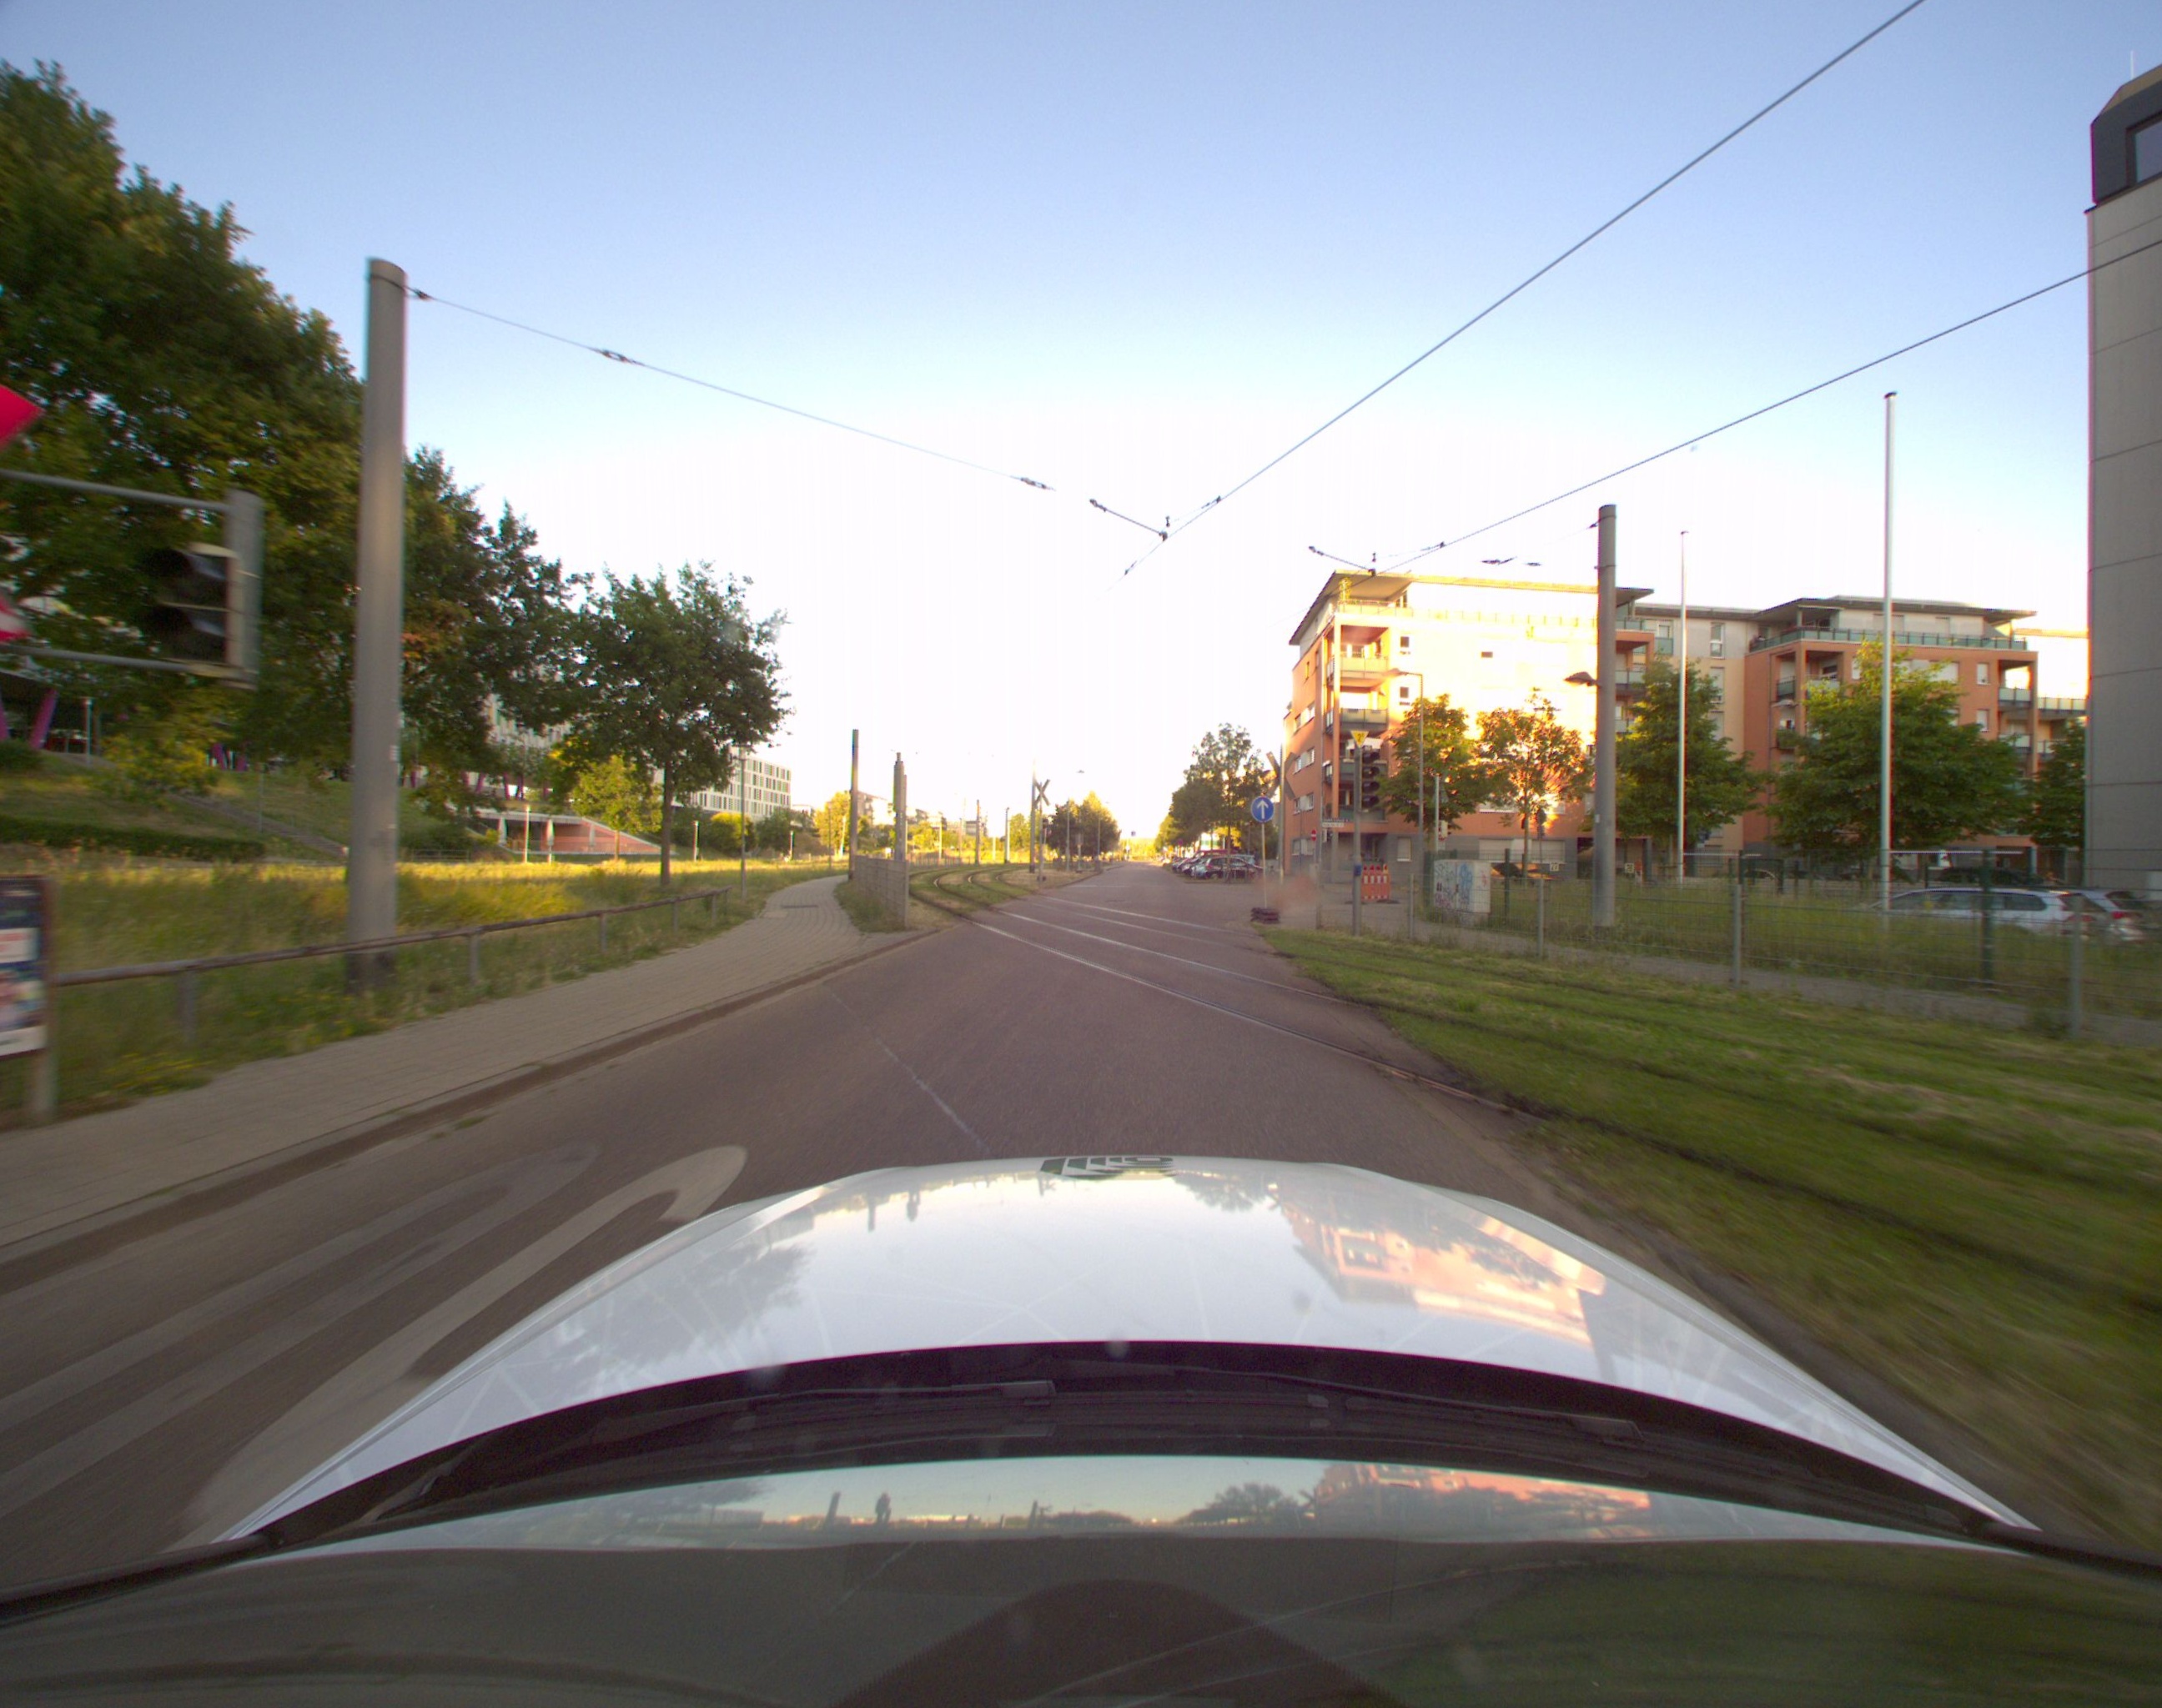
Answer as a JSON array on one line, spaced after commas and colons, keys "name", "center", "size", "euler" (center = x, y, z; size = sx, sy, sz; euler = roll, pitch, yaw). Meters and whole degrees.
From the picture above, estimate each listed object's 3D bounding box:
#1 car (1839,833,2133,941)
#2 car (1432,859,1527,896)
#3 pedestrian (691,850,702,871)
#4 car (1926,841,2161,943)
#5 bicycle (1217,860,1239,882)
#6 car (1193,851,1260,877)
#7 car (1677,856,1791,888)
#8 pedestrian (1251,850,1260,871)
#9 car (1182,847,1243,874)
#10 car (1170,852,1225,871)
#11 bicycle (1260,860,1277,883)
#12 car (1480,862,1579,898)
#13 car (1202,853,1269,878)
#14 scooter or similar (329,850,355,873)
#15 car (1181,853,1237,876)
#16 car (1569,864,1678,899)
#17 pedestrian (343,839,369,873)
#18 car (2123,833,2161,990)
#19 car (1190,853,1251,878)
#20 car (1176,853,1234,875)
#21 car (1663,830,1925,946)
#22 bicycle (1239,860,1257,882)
[{"name": "car", "center": [18.999, 0.623, 17.425], "size": [1.985, 2.013, 4.004], "euler": [1, 0, 4]}, {"name": "car", "center": [19.342, 1.092, 39.805], "size": [1.990, 1.594, 4.807], "euler": [2, 0, -4]}, {"name": "pedestrian", "center": [-38.770, 0.619, 82.042], "size": [0.613, 2.082, 0.791], "euler": [3, -1, 3]}, {"name": "car", "center": [21.960, 0.769, 18.285], "size": [1.985, 2.013, 4.004], "euler": [1, 0, 4]}, {"name": "bicycle", "center": [8.152, 0.934, 45.143], "size": [0.715, 1.152, 1.895], "euler": [-1, 2, -6]}, {"name": "car", "center": [9.240, 0.631, 51.981], "size": [4.031, 1.569, 1.675], "euler": [0, 0, 4]}, {"name": "car", "center": [34.976, 0.915, 43.809], "size": [1.992, 1.594, 4.803], "euler": [1, 0, -7]}, {"name": "pedestrian", "center": [14.422, 0.518, 67.300], "size": [0.665, 1.743, 0.700], "euler": [1, 0, 4]}, {"name": "car", "center": [10.793, 0.498, 67.155], "size": [4.896, 2.117, 2.020], "euler": [1, 0, 5]}, {"name": "car", "center": [10.057, 0.629, 70.519], "size": [4.648, 1.556, 1.813], "euler": [1, 0, 3]}, {"name": "bicycle", "center": [10.435, 0.959, 45.399], "size": [0.527, 1.126, 1.964], "euler": [2, 1, 3]}, {"name": "car", "center": [22.079, 1.244, 40.346], "size": [1.990, 1.594, 4.807], "euler": [1, 0, -4]}, {"name": "car", "center": [9.369, 0.690, 49.573], "size": [3.737, 1.473, 1.613], "euler": [1, 0, -1]}, {"name": "scooter or similar", "center": [-40.506, 0.419, 44.663], "size": [0.613, 1.244, 0.791], "euler": [3, 0, 3]}, {"name": "car", "center": [9.011, 0.763, 57.403], "size": [3.757, 1.496, 1.540], "euler": [1, -2, 4]}, {"name": "car", "center": [27.018, 1.311, 40.788], "size": [1.990, 1.594, 4.807], "euler": [1, 0, -4]}, {"name": "pedestrian", "center": [-40.593, 0.121, 45.590], "size": [0.613, 1.836, 0.791], "euler": [3, -1, 3]}, {"name": "car", "center": [15.935, 0.774, 10.410], "size": [3.997, 2.013, 1.988], "euler": [1, 0, -18]}, {"name": "car", "center": [9.350, 0.742, 54.764], "size": [3.859, 1.569, 1.622], "euler": [1, 0, 4]}, {"name": "car", "center": [9.391, 0.778, 61.927], "size": [4.196, 1.569, 1.795], "euler": [-1, 0, 4]}, {"name": "car", "center": [14.142, 0.601, 16.528], "size": [1.985, 2.013, 4.004], "euler": [1, 0, 4]}, {"name": "bicycle", "center": [9.201, 0.926, 45.011], "size": [0.676, 1.152, 1.929], "euler": [-1, 1, 3]}]
